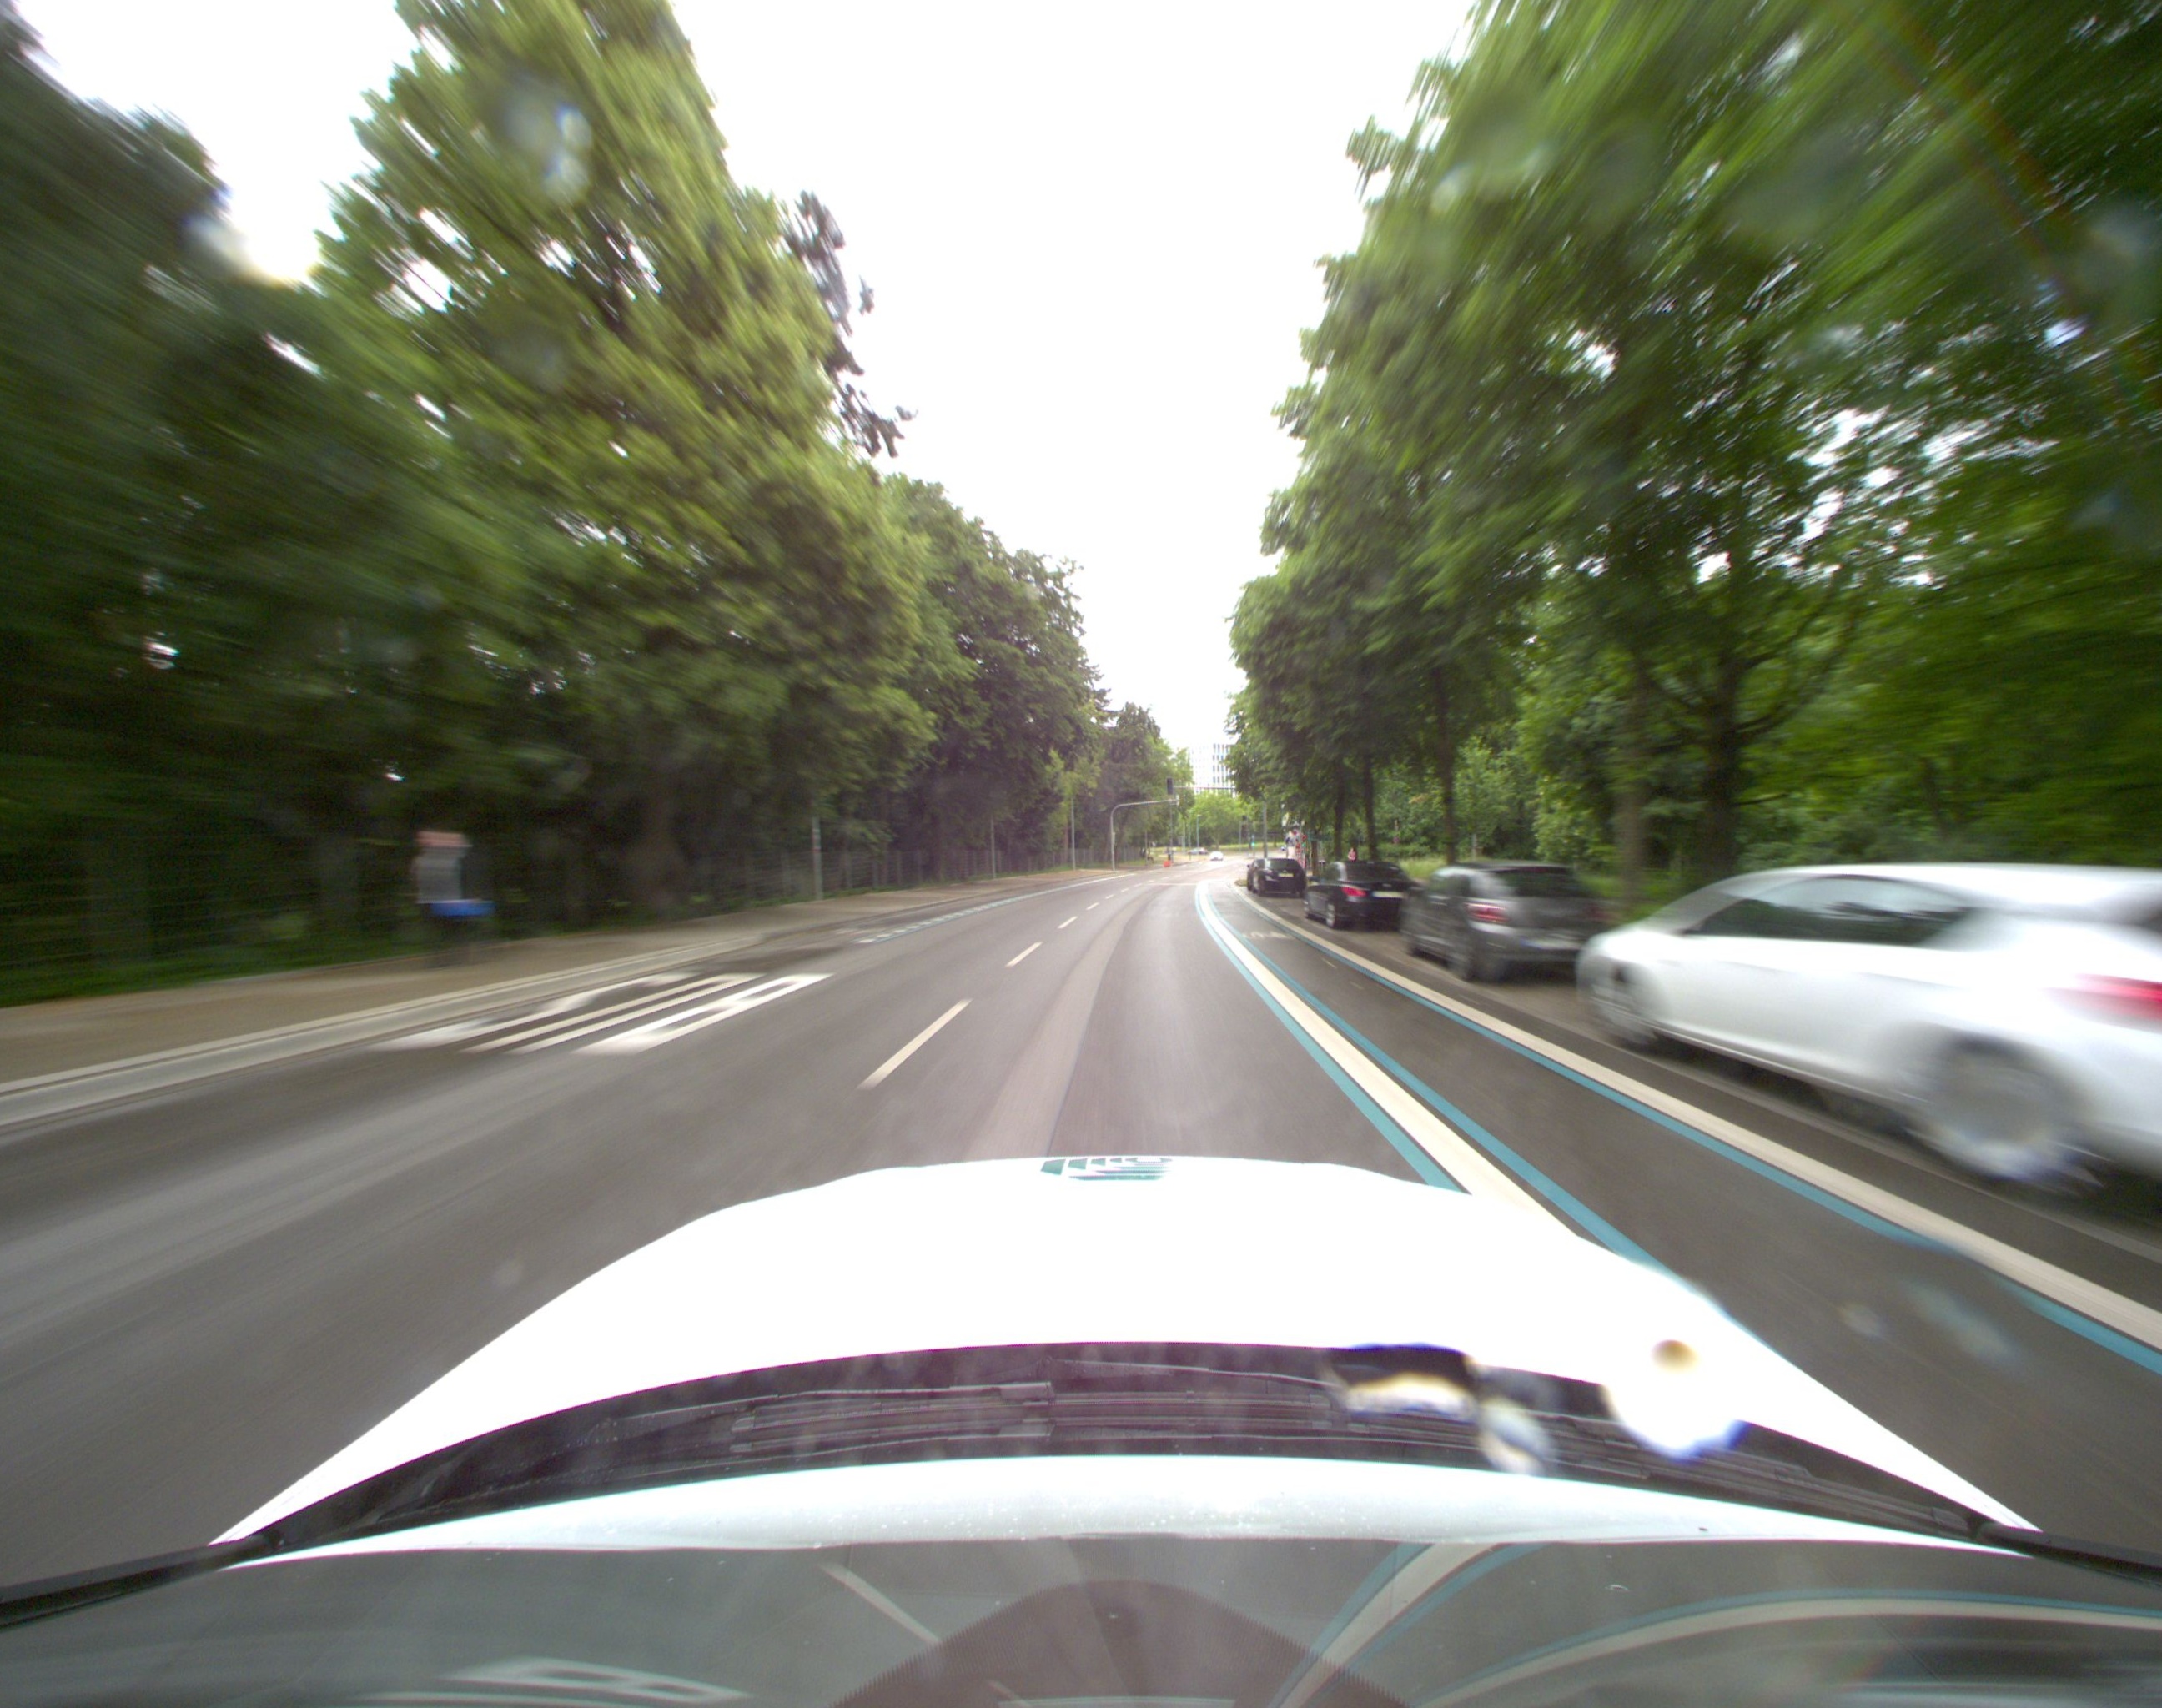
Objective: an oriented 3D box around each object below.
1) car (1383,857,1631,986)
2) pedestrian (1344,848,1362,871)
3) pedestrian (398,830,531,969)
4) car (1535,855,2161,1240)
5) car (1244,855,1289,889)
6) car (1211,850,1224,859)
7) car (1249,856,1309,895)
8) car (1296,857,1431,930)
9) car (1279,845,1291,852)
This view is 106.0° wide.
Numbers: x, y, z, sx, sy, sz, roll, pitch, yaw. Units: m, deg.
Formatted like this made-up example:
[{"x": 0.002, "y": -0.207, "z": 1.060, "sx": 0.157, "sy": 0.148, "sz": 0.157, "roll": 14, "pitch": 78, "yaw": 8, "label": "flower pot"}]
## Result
[{"x": 5.584, "y": 0.766, "z": 11.324, "sx": 1.674, "sy": 1.428, "sz": 4.327, "roll": 0, "pitch": 0, "yaw": 7, "label": "car"}, {"x": 20.389, "y": 0.393, "z": 61.011, "sx": 0.885, "sy": 1.733, "sz": 1.144, "roll": 0, "pitch": 0, "yaw": -6, "label": "pedestrian"}, {"x": -8.097, "y": 0.573, "z": 10.760, "sx": 0.884, "sy": 1.733, "sz": 1.146, "roll": 0, "pitch": 0, "yaw": 0, "label": "pedestrian"}, {"x": 5.012, "y": 0.738, "z": 5.293, "sx": 1.851, "sy": 1.428, "sz": 4.655, "roll": 0, "pitch": 0, "yaw": 5, "label": "car"}, {"x": 8.559, "y": 0.798, "z": 37.936, "sx": 1.747, "sy": 1.440, "sz": 4.870, "roll": 0, "pitch": 0, "yaw": 9, "label": "car"}, {"x": 23.129, "y": 0.102, "z": 137.760, "sx": 1.830, "sy": 1.457, "sz": 4.517, "roll": -1, "pitch": 1, "yaw": 14, "label": "car"}, {"x": 7.719, "y": 0.801, "z": 32.159, "sx": 1.690, "sy": 1.420, "sz": 4.772, "roll": 1, "pitch": 0, "yaw": 6, "label": "car"}, {"x": 6.162, "y": 0.793, "z": 18.345, "sx": 1.773, "sy": 1.407, "sz": 4.852, "roll": 0, "pitch": 0, "yaw": 5, "label": "car"}, {"x": 48.658, "y": -1.356, "z": 194.180, "sx": 1.974, "sy": 1.685, "sz": 4.025, "roll": 0, "pitch": 0, "yaw": 29, "label": "car"}]
